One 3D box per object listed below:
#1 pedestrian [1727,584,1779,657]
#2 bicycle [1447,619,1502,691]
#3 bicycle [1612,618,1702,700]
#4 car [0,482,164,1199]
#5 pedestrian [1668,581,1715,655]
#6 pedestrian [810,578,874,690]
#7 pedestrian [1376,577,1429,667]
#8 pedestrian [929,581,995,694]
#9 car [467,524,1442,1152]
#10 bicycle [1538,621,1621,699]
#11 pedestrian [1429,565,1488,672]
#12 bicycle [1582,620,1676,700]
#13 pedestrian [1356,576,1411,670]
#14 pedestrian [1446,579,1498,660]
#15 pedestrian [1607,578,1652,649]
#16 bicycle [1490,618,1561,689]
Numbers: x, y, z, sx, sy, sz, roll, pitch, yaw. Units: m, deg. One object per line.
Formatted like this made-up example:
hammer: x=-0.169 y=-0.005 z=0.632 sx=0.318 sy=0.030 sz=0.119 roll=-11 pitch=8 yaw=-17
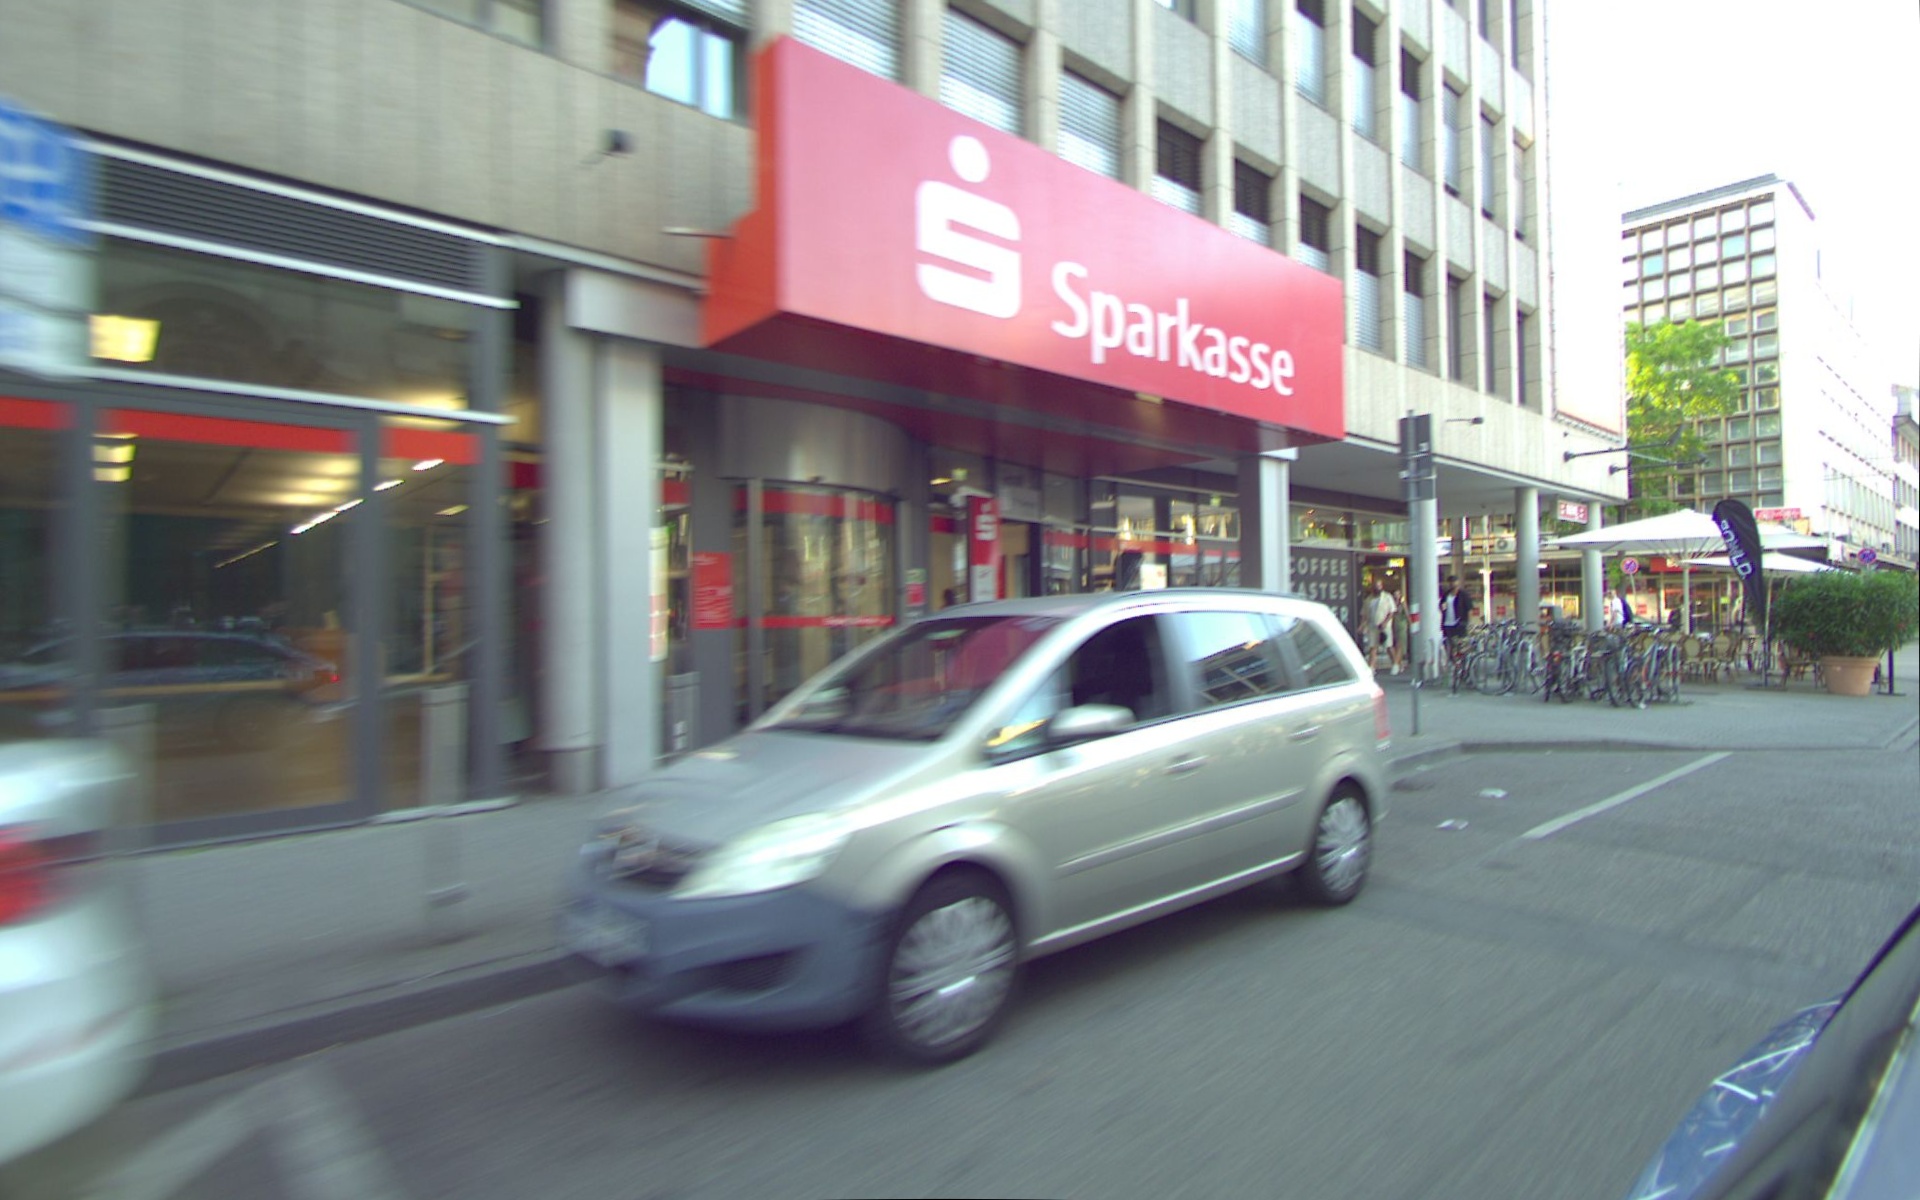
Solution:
pedestrian: x=17.842 y=0.452 z=22.779 sx=0.756 sy=1.585 sz=0.795 roll=1 pitch=-1 yaw=-42
bicycle: x=8.027 y=0.825 z=15.751 sx=0.381 sy=1.046 sz=1.837 roll=-1 pitch=-1 yaw=39
bicycle: x=9.551 y=0.784 z=13.843 sx=1.827 sy=1.046 sz=0.330 roll=0 pitch=-1 yaw=-33
car: x=-3.849 y=0.686 z=0.964 sx=4.734 sy=1.687 sz=1.777 roll=-1 pitch=-2 yaw=-44
pedestrian: x=17.126 y=0.416 z=23.699 sx=0.789 sy=1.710 sz=0.761 roll=-1 pitch=-1 yaw=30
pedestrian: x=-1.837 y=0.524 z=15.783 sx=0.739 sy=1.683 sz=0.641 roll=-3 pitch=-2 yaw=40
pedestrian: x=9.010 y=0.445 z=20.609 sx=0.676 sy=1.784 sz=0.797 roll=1 pitch=-1 yaw=-45
pedestrian: x=0.029 y=0.568 z=15.524 sx=0.687 sy=1.683 sz=0.720 roll=-3 pitch=-2 yaw=38
car: x=0.375 y=0.654 z=4.830 sx=4.632 sy=1.619 sz=1.742 roll=0 pitch=-3 yaw=-41
bicycle: x=8.961 y=0.833 z=14.608 sx=1.829 sy=1.046 sz=0.383 roll=0 pitch=-1 yaw=-37
pedestrian: x=9.308 y=0.336 z=18.894 sx=0.676 sy=1.943 sz=0.798 roll=1 pitch=-1 yaw=-44
bicycle: x=9.361 y=0.807 z=14.139 sx=1.827 sy=1.046 sz=0.383 roll=0 pitch=-1 yaw=-33
pedestrian: x=8.312 y=0.443 z=19.872 sx=0.676 sy=1.784 sz=0.798 roll=1 pitch=-1 yaw=-44
pedestrian: x=11.504 y=0.427 z=22.758 sx=0.784 sy=1.784 sz=0.687 roll=0 pitch=-1 yaw=-2
pedestrian: x=16.538 y=0.324 z=25.030 sx=0.788 sy=1.710 sz=0.763 roll=0 pitch=-1 yaw=25
bicycle: x=8.994 y=0.827 z=16.062 sx=1.831 sy=1.046 sz=0.382 roll=0 pitch=-1 yaw=-41
